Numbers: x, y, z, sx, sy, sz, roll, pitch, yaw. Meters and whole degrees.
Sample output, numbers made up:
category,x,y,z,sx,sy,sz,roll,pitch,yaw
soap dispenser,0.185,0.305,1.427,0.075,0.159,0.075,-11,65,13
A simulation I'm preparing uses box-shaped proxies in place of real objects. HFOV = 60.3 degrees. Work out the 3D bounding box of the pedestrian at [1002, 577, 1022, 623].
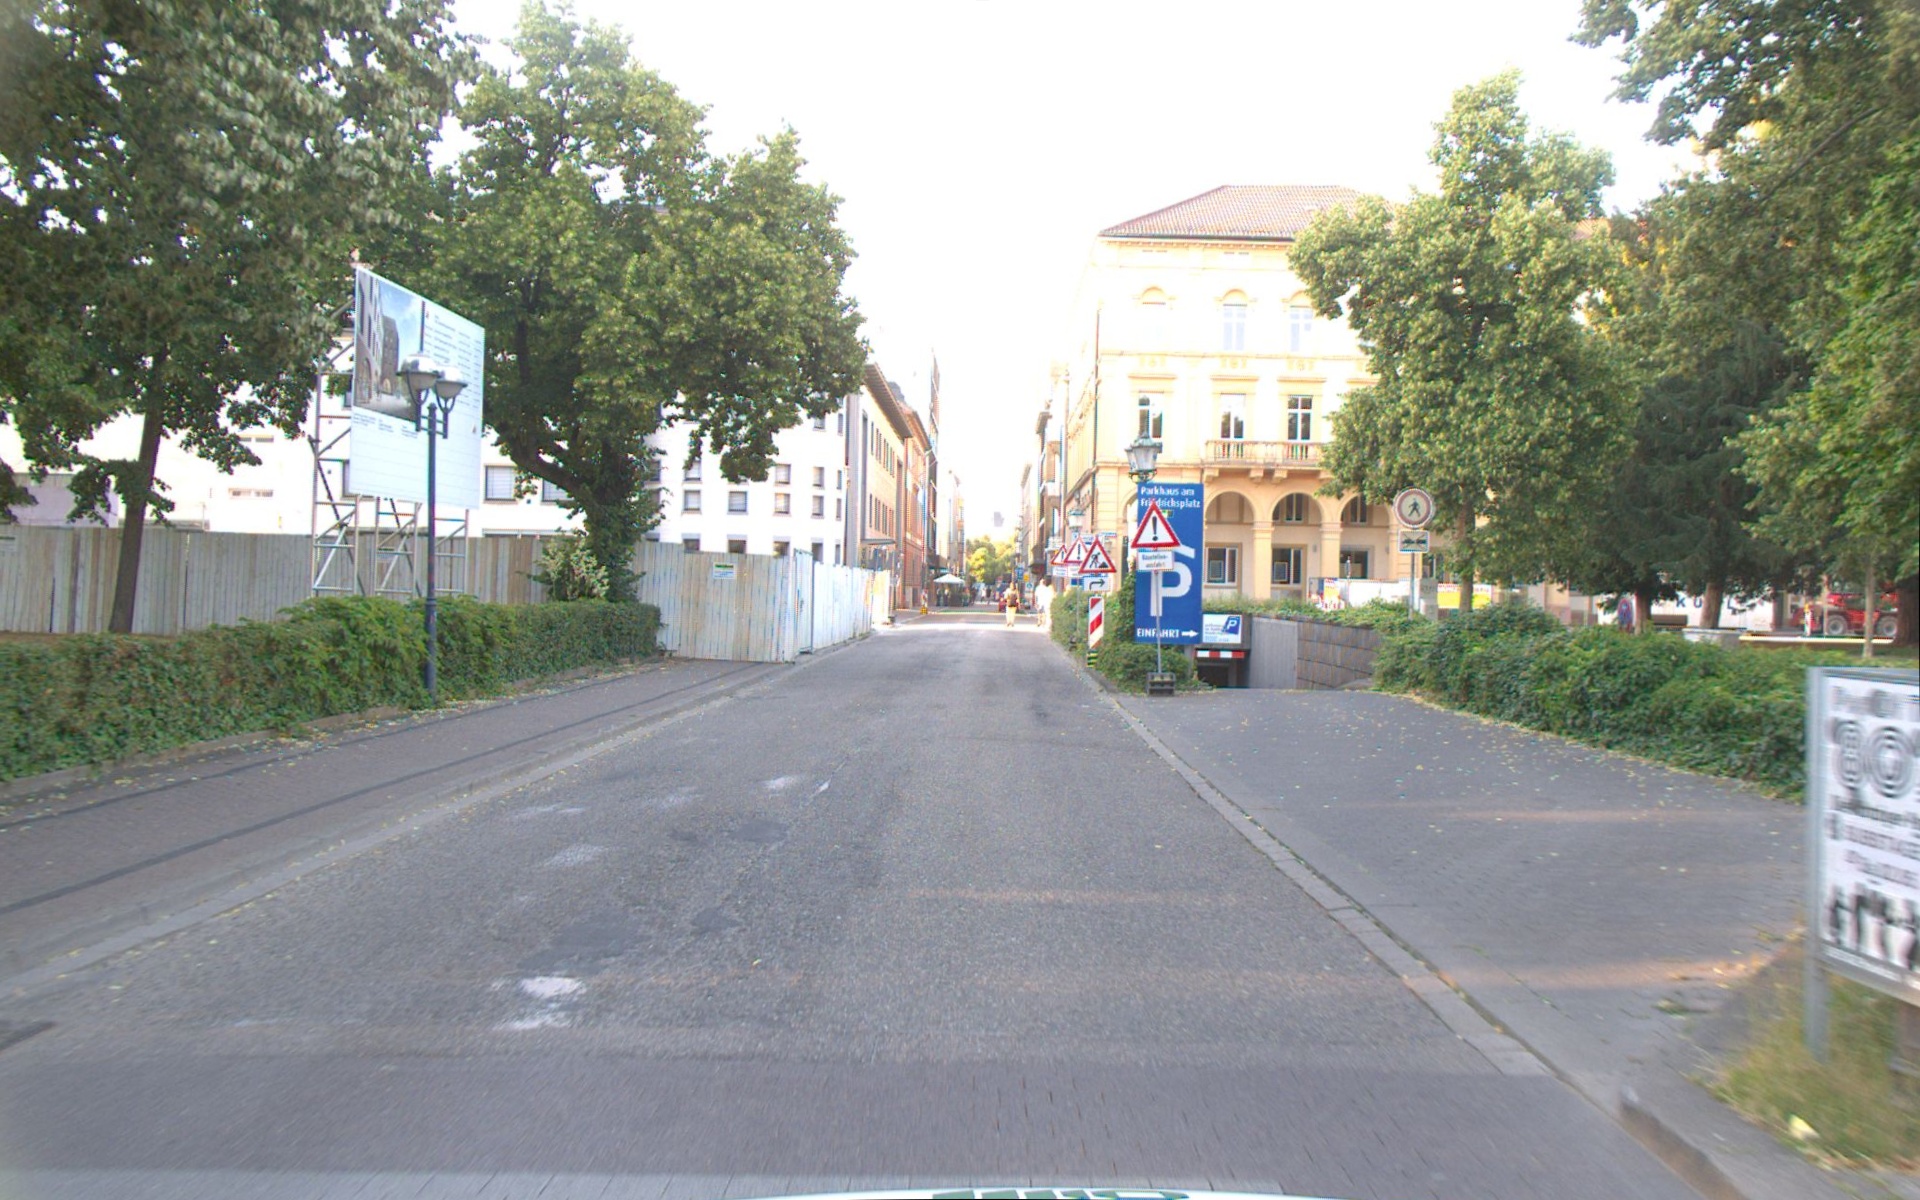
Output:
category,x,y,z,sx,sy,sz,roll,pitch,yaw
pedestrian,2.035,0.007,64.852,0.760,1.777,0.875,0,0,0

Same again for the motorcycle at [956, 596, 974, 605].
category,x,y,z,sx,sy,sz,roll,pitch,yaw
motorcycle,0.472,0.020,167.663,1.765,0.891,0.560,1,0,-3

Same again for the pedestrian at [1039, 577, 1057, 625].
category,x,y,z,sx,sy,sz,roll,pitch,yaw
pedestrian,3.364,0.039,63.331,0.623,1.835,0.772,0,0,0

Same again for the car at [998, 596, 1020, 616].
category,x,y,z,sx,sy,sz,roll,pitch,yaw
car,3.765,0.449,127.718,1.615,1.452,3.536,4,0,2

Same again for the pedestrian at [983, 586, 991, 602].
category,x,y,z,sx,sy,sz,roll,pitch,yaw
pedestrian,2.951,-0.650,182.399,0.788,1.702,0.889,1,0,3

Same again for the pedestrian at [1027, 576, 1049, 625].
category,x,y,z,sx,sy,sz,roll,pitch,yaw
pedestrian,3.057,0.029,64.831,0.795,1.908,0.875,0,0,0

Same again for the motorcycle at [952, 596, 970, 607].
category,x,y,z,sx,sy,sz,roll,pitch,yaw
motorcycle,0.108,0.122,159.470,1.765,1.059,0.493,1,0,-3
